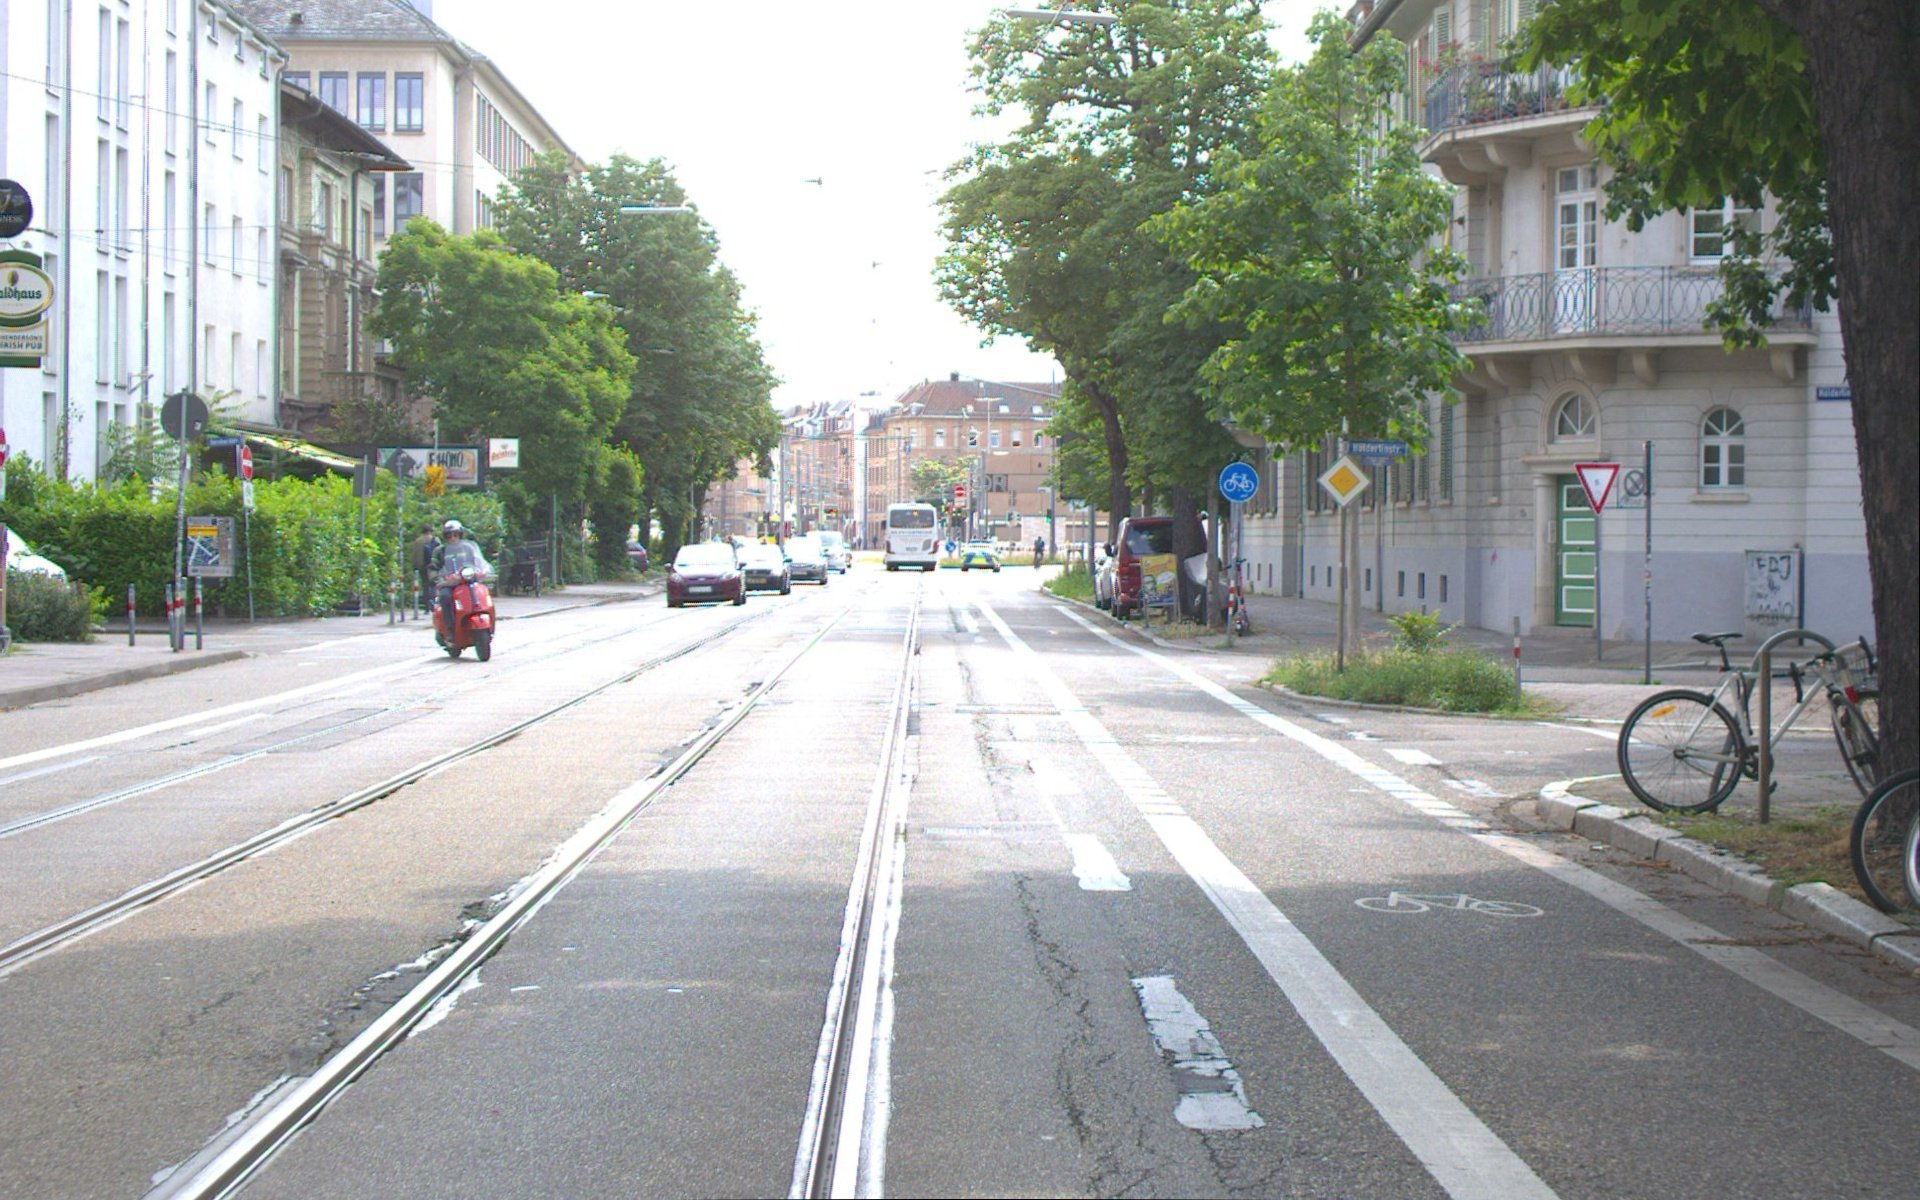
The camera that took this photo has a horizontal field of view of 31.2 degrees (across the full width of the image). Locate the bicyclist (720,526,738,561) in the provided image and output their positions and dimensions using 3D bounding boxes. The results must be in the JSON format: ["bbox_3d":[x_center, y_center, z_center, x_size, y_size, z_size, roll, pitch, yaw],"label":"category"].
[{"bbox_3d":[-10.061,-2.459,149.733,0.599,1.487,0.882,-5,1,2],"label":"bicyclist"}]

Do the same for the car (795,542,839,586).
[{"bbox_3d":[-6.370,-1.623,153.528,1.897,1.901,5.385,0,1,-2],"label":"car"}]

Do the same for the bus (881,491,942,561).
[{"bbox_3d":[-2.501,-3.701,175.025,2.917,3.317,12.207,1,0,-1],"label":"bus"}]

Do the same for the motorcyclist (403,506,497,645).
[{"bbox_3d":[-6.335,-0.313,42.719,0.920,1.708,0.739,1,1,43],"label":"motorcyclist"}]

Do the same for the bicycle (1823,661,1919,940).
[{"bbox_3d":[4.258,0.787,13.477,1.647,1.067,0.348,0,1,3],"label":"bicycle"}]

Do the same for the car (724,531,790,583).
[{"bbox_3d":[-5.613,-1.206,95.349,1.628,1.402,4.129,1,1,0],"label":"car"}]

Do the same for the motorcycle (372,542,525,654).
[{"bbox_3d":[-6.378,-0.034,42.765,2.087,1.355,0.740,1,1,43],"label":"motorcycle"}]

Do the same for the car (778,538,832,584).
[{"bbox_3d":[-5.278,-1.338,117.210,1.727,1.535,4.277,-1,1,-1],"label":"car"}]

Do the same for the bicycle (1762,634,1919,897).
[{"bbox_3d":[4.205,0.686,14.290,1.647,1.067,0.348,0,1,4],"label":"bicycle"}]

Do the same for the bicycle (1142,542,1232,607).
[{"bbox_3d":[4.236,-0.470,64.087,1.610,1.199,0.590,0,1,-3],"label":"bicycle"}]

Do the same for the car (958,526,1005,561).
[{"bbox_3d":[1.080,-2.859,173.906,2.130,1.678,4.103,1,2,-2],"label":"car"}]

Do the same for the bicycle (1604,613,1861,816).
[{"bbox_3d":[4.162,0.611,18.567,1.268,1.062,0.478,0,1,-1],"label":"bicycle"}]

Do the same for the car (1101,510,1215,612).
[{"bbox_3d":[3.861,-0.791,67.771,1.895,1.934,4.951,0,1,-1],"label":"car"}]

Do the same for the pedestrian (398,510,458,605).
[{"bbox_3d":[-10.740,-0.855,69.441,1.059,1.911,0.829,0,1,1],"label":"pedestrian"}]

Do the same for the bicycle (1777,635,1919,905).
[{"bbox_3d":[4.178,0.687,13.916,1.647,1.067,0.348,0,1,4],"label":"bicycle"}]

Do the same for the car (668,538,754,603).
[{"bbox_3d":[-5.744,-0.707,79.604,1.594,1.435,3.936,-1,1,1],"label":"car"}]

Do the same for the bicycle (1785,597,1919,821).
[{"bbox_3d":[5.212,0.578,18.511,0.584,1.154,1.837,0,1,-19],"label":"bicycle"}]

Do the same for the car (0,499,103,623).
[{"bbox_3d":[-16.937,-0.655,57.206,4.935,2.007,2.048,0,1,22],"label":"car"}]

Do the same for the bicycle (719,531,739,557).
[{"bbox_3d":[-10.057,-2.442,149.742,0.602,1.093,2.023,-5,1,2],"label":"bicycle"}]

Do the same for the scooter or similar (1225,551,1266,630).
[{"bbox_3d":[4.609,-0.166,55.552,0.532,1.247,1.720,0,1,0],"label":"scooter or similar"}]

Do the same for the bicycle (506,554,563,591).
[{"bbox_3d":[-11.389,-0.749,92.155,1.142,0.905,2.989,3,1,0],"label":"bicycle"}]

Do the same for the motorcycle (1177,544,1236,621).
[{"bbox_3d":[4.301,-0.325,60.221,0.857,1.317,2.445,0,1,0],"label":"motorcycle"}]

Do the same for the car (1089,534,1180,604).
[{"bbox_3d":[3.836,-0.700,76.132,1.707,1.493,4.789,0,1,-1],"label":"car"}]
